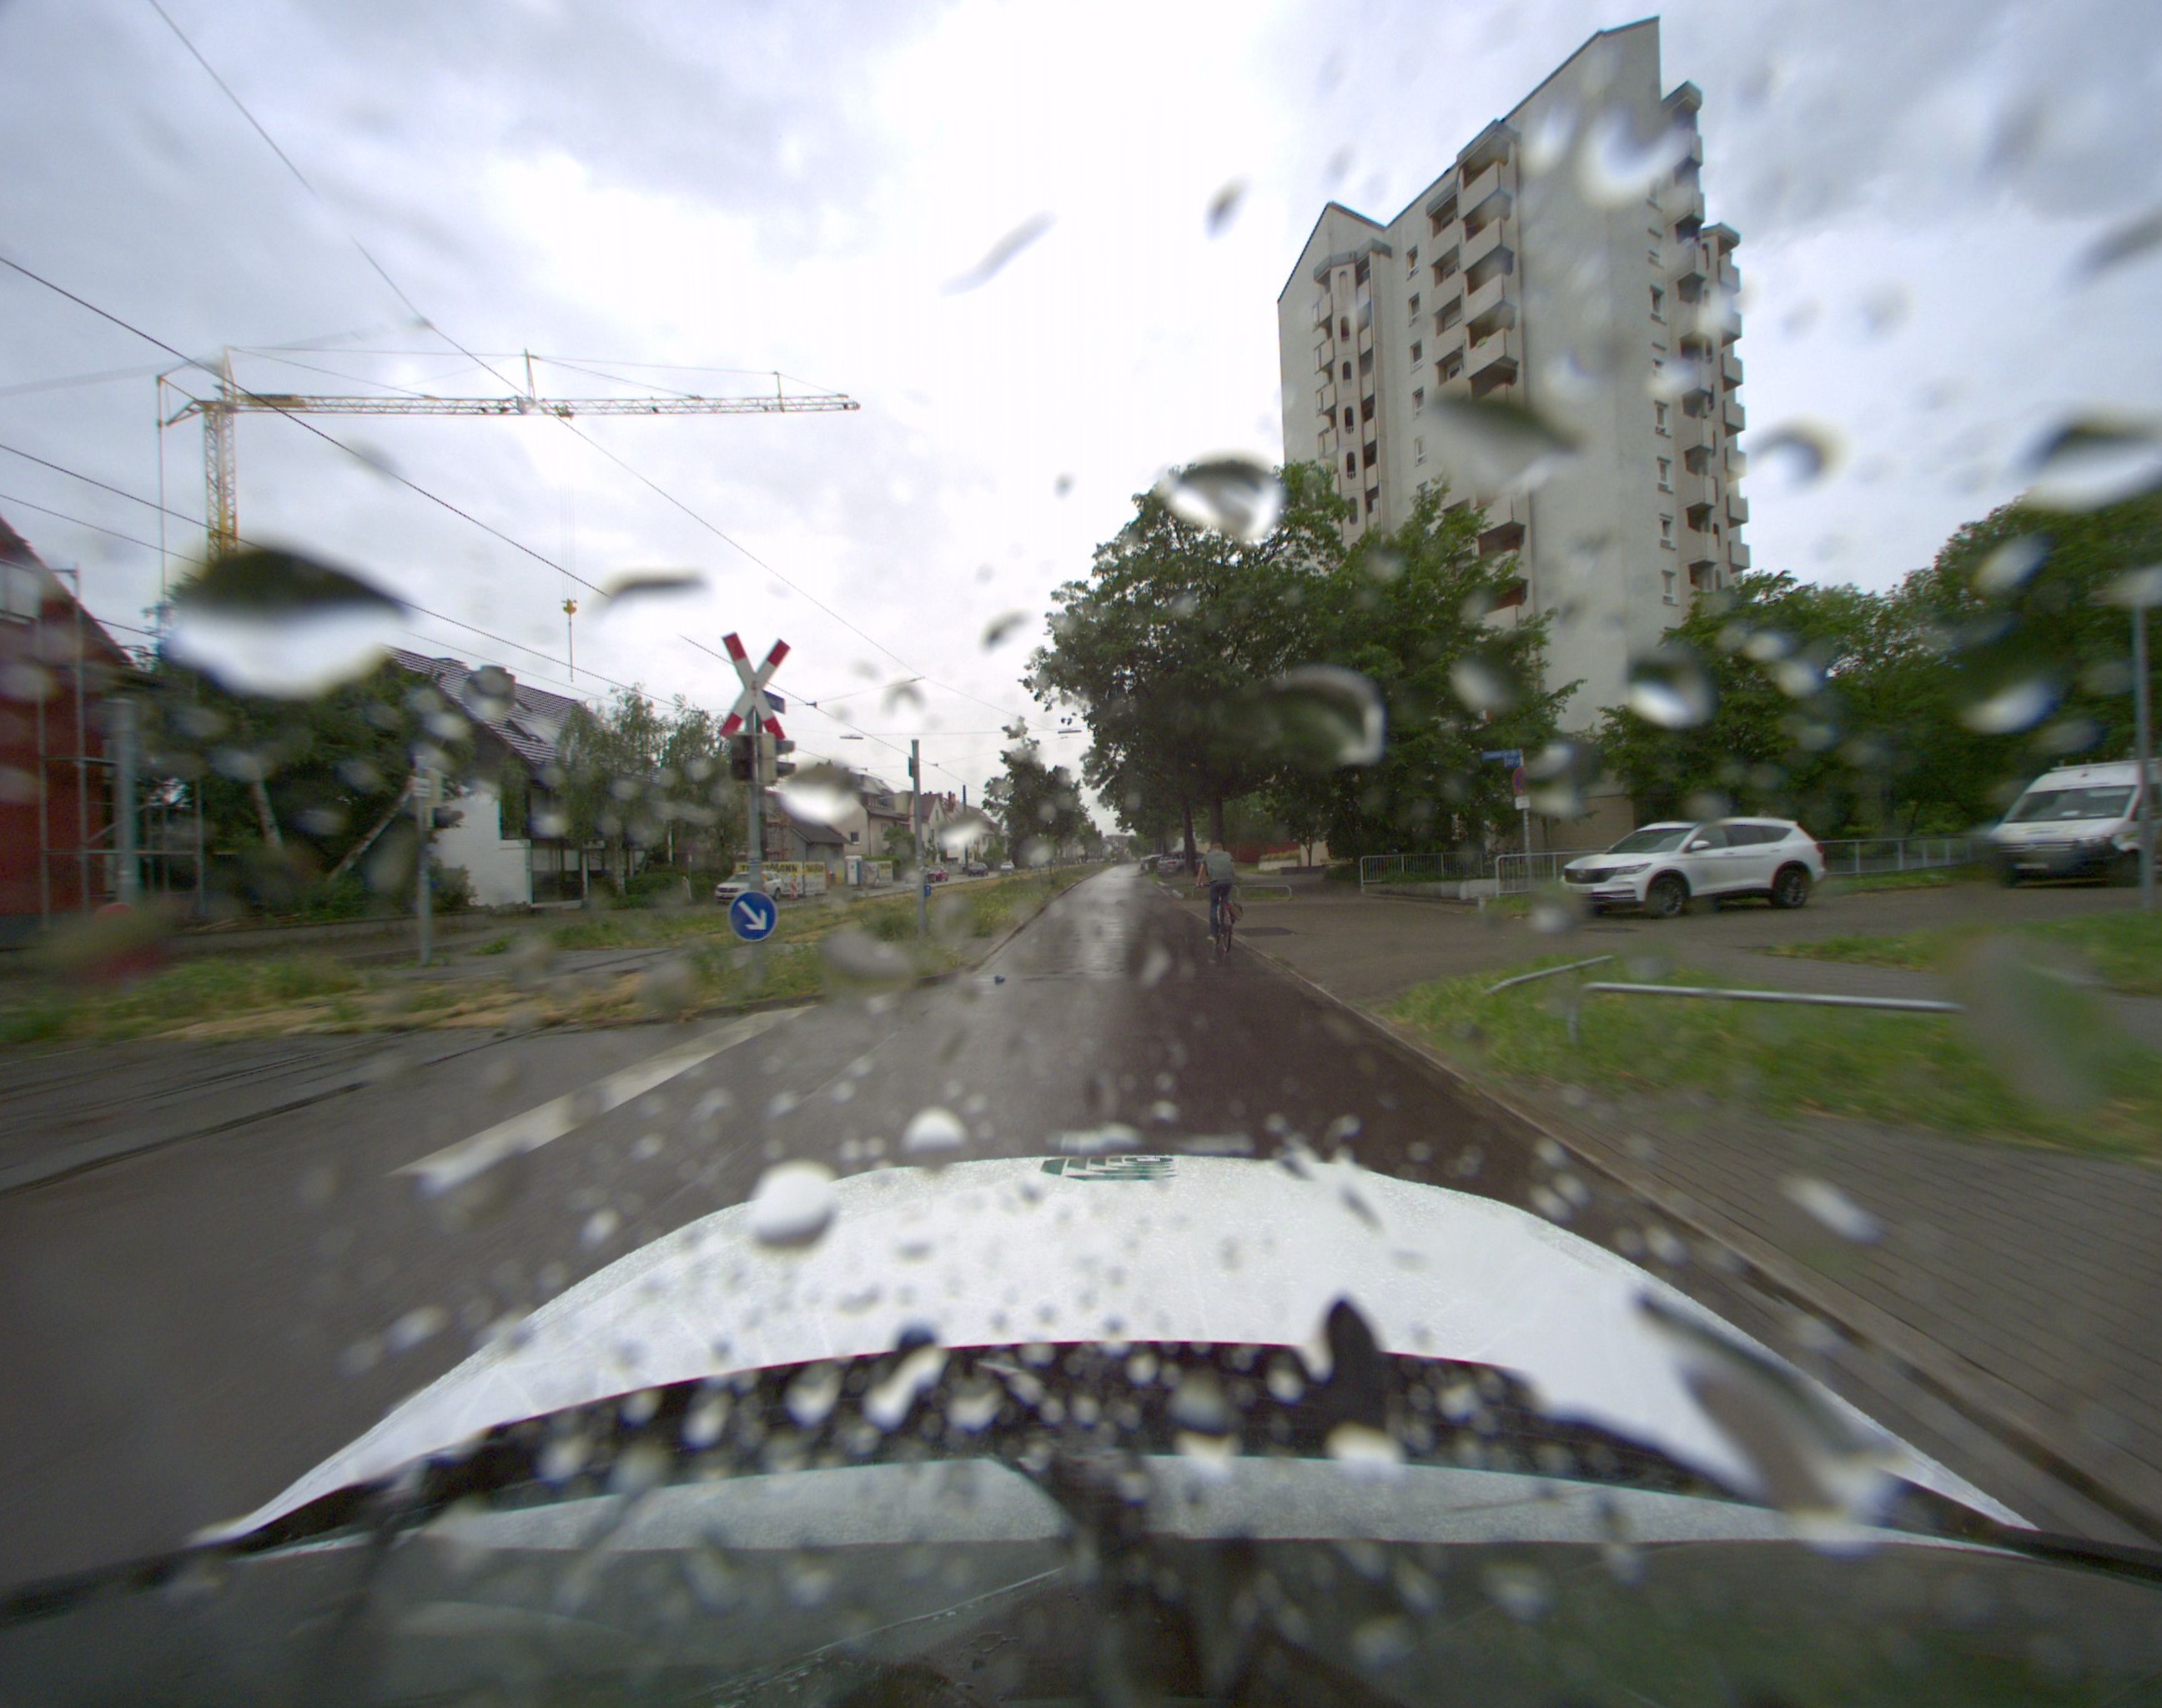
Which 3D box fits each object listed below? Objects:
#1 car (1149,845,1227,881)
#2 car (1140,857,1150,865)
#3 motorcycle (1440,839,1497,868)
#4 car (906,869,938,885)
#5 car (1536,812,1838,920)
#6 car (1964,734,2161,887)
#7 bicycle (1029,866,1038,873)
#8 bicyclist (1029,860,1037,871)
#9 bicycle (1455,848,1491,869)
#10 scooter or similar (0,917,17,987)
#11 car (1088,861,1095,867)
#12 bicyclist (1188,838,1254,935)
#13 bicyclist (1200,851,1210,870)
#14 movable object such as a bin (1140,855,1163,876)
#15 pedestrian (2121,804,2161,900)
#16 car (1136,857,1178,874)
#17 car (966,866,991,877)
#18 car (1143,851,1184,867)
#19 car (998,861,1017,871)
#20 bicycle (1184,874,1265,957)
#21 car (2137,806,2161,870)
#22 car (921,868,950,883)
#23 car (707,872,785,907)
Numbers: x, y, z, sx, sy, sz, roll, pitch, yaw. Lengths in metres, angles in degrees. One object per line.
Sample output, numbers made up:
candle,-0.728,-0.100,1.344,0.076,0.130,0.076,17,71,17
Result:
car,6.369,0.527,48.428,4.161,1.719,1.981,-5,1,-30
car,13.253,1.381,169.254,1.825,1.586,4.003,-3,0,3
motorcycle,18.539,-0.001,39.058,0.889,1.288,2.278,-2,-1,-35
car,-13.405,1.932,68.889,1.656,1.244,4.075,0,0,3
car,11.503,0.188,15.560,4.809,1.745,1.991,-2,-1,-14
car,22.596,-0.935,17.518,6.063,2.964,2.120,-2,-1,-14
bicycle,-7.739,2.480,132.598,1.014,1.028,3.199,-3,0,3
bicyclist,-7.792,1.865,131.935,1.014,1.685,1.092,-3,-1,2
bicycle,18.102,0.214,37.671,0.410,0.925,1.449,-2,-1,-35
scooter or similar,-18.970,1.709,13.664,0.390,1.180,1.288,-3,-1,17
car,2.930,2.896,235.544,1.835,1.672,4.003,-3,0,3
bicyclist,2.197,0.503,12.906,0.807,1.433,1.060,-3,-1,0
bicyclist,10.484,0.554,68.891,0.732,1.594,0.945,-3,-1,2
movable object such as a bin,5.347,0.896,62.055,1.129,1.457,1.392,-8,1,-18
pedestrian,18.063,-0.039,13.446,0.839,1.570,0.810,-2,-1,-17
car,7.270,1.053,77.856,4.063,1.443,1.566,-2,-1,-41
car,-11.939,2.038,94.779,1.887,1.244,4.695,0,0,6
car,8.477,0.495,83.378,4.057,1.443,1.568,-2,-1,-34
car,-10.541,1.683,117.061,1.887,1.469,4.695,0,0,6
bicycle,2.212,0.908,12.897,0.807,1.097,2.517,-3,0,0
car,28.054,-0.474,19.302,4.405,1.526,1.900,-2,-1,-11
car,-13.190,1.939,74.074,1.667,1.244,3.858,0,0,4
car,-16.126,1.663,39.473,1.703,1.542,4.426,0,0,4
